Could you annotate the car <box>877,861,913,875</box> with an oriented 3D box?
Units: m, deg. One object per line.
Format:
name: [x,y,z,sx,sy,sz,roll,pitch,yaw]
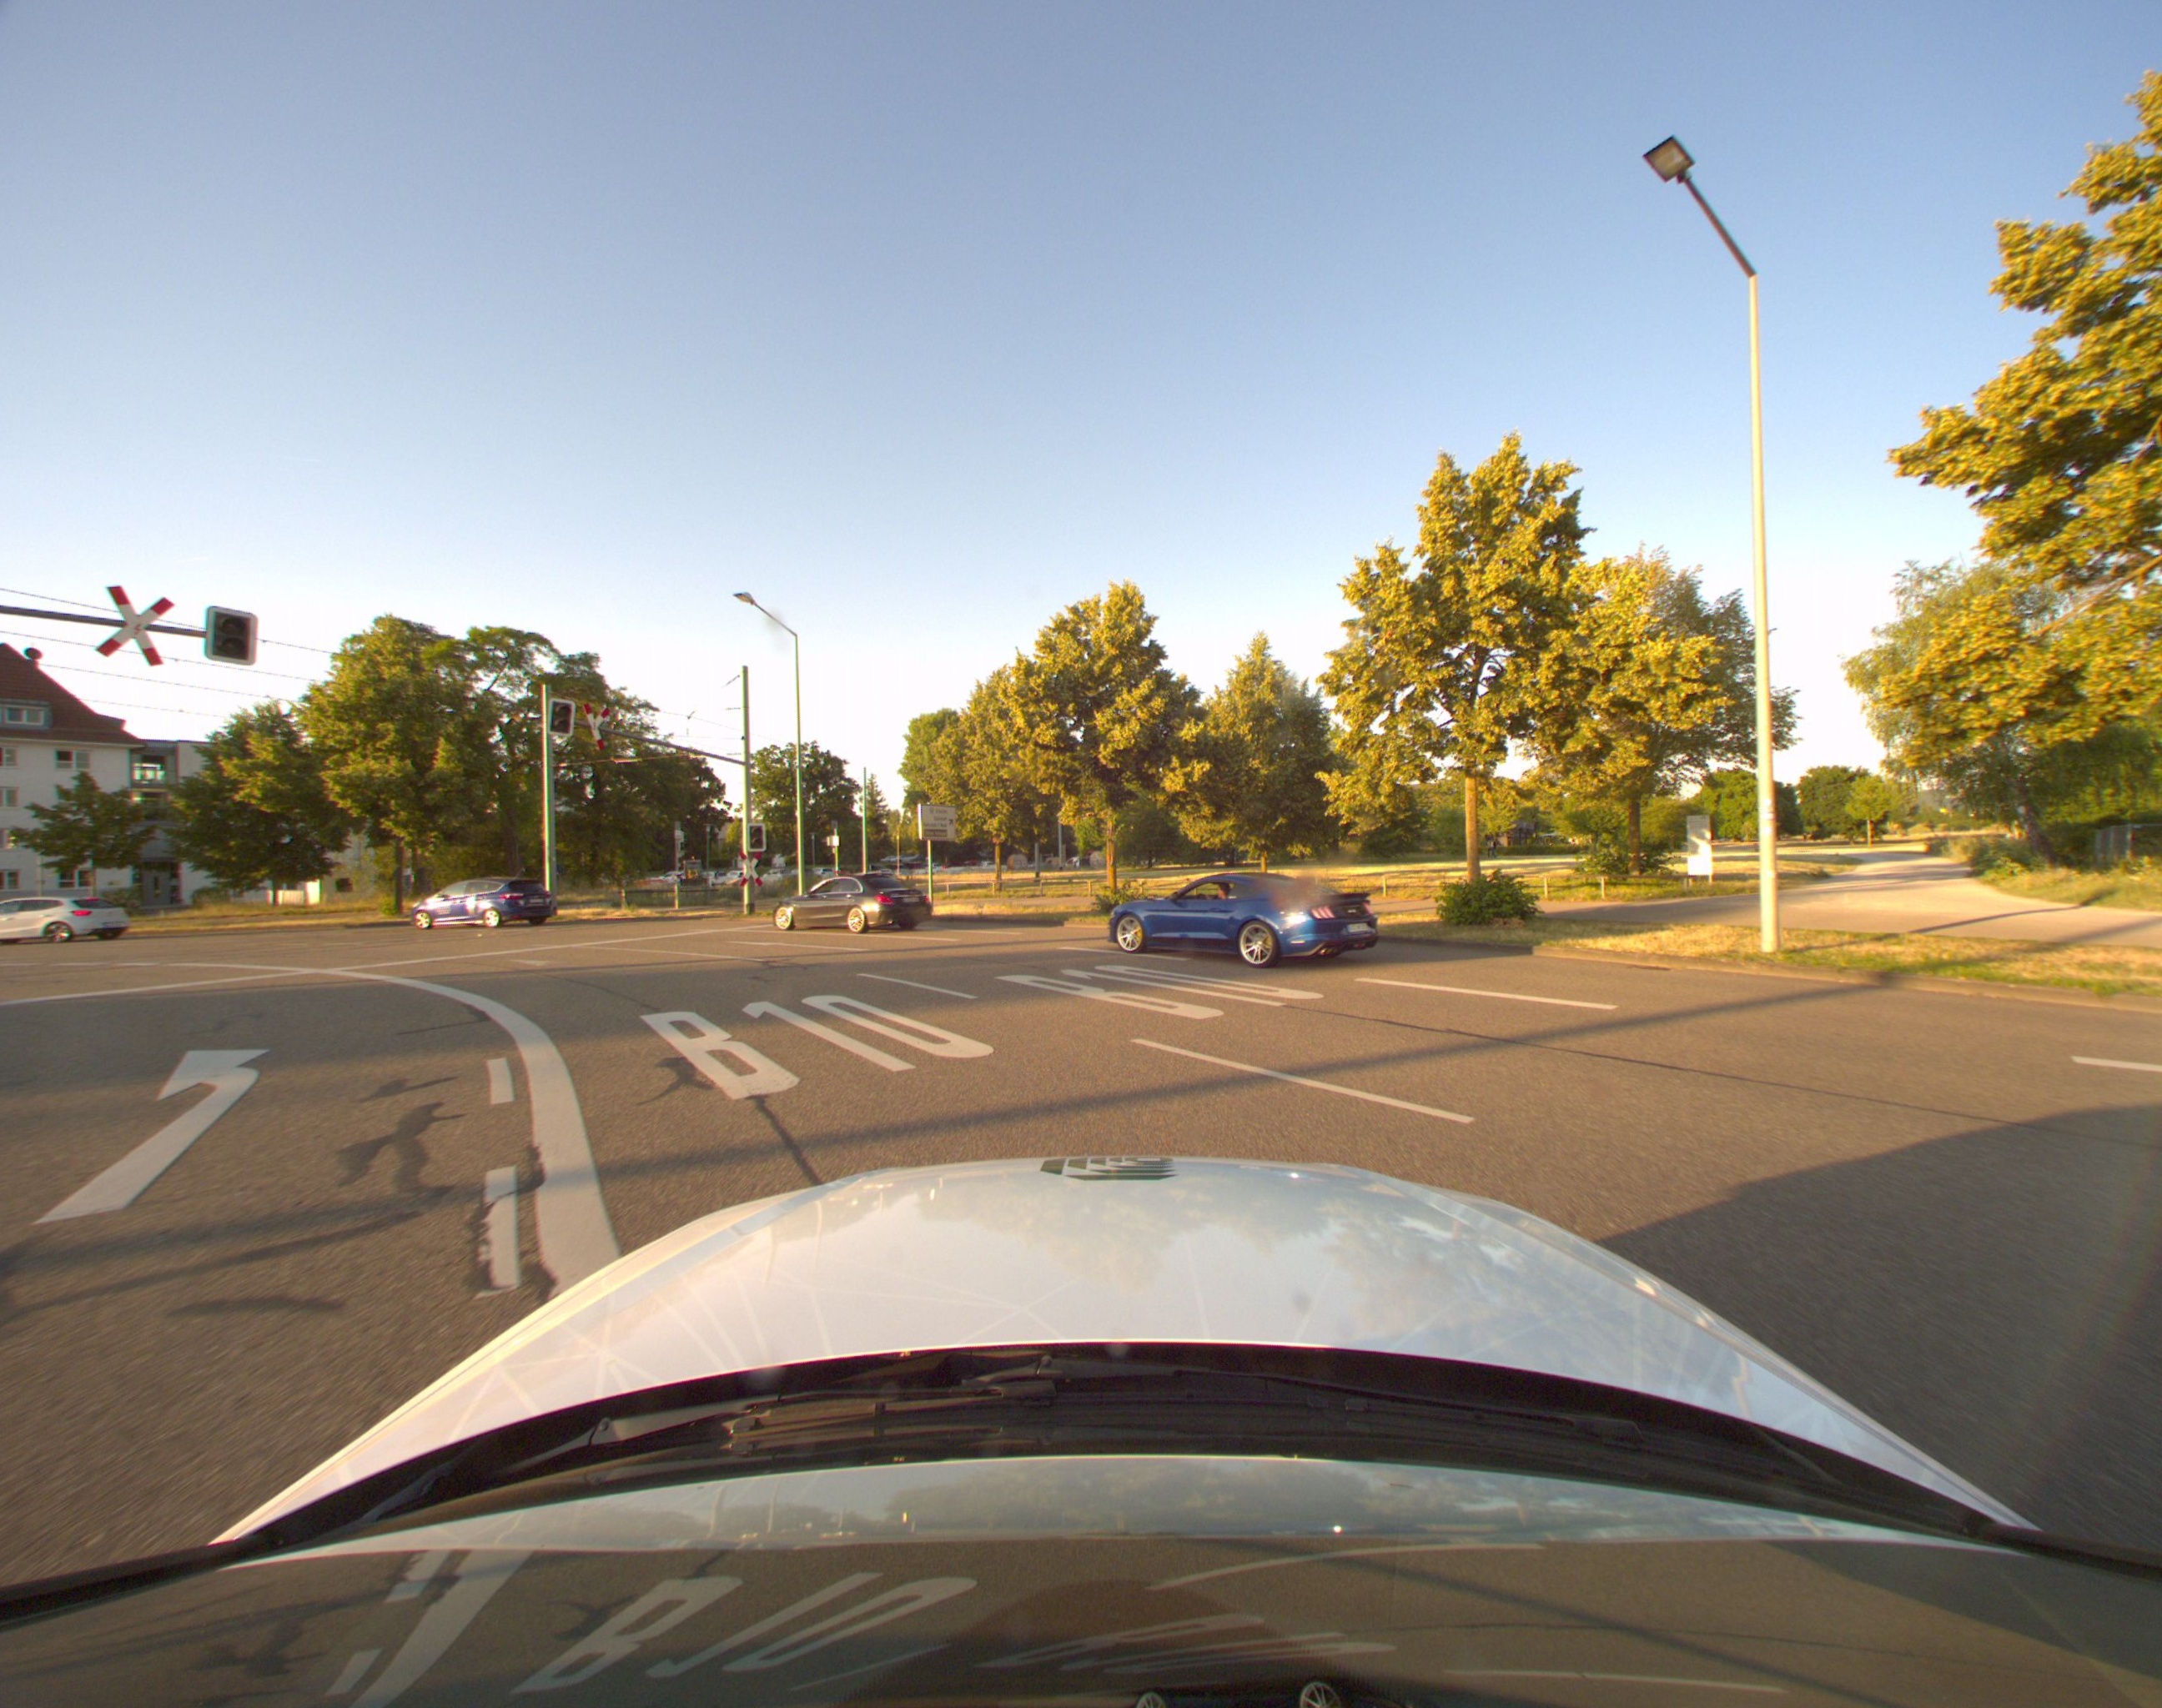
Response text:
car: [-21.752,1.665,95.284,3.948,1.554,1.916,-2,-1,34]

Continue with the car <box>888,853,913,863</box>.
car: [-32.119,0.750,145.316,1.879,1.554,4.026,-2,-1,38]

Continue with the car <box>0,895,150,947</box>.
car: [-32.510,2.116,25.564,3.908,1.401,1.873,-2,0,-14]

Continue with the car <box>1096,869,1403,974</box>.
car: [2.498,0.935,13.109,1.968,1.342,4.616,0,-1,-40]

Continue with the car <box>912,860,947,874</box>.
car: [-18.557,1.624,99.647,3.948,1.554,1.916,-2,-1,34]

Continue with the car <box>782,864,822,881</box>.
car: [-29.407,1.945,85.905,3.948,1.662,1.965,-2,-1,34]

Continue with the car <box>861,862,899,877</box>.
car: [-23.143,1.795,93.719,4.046,1.554,1.916,-2,-1,34]

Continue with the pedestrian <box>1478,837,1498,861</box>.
pedestrian: [32.772,-0.394,65.604,1.106,1.863,0.904,-1,0,-24]

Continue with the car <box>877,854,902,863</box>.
car: [-34.672,0.825,147.316,1.879,1.554,4.026,-2,-1,38]

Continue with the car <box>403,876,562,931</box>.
car: [-19.343,1.590,26.382,4.036,1.602,1.964,-2,-1,13]

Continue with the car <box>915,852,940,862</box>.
car: [-26.431,0.512,140.596,1.974,1.745,4.025,-1,-1,37]

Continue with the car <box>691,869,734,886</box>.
car: [-35.279,2.229,77.924,3.948,1.445,1.965,-2,-1,34]

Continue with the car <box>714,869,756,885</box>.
car: [-33.840,2.252,79.612,3.948,1.445,1.965,-2,-1,34]

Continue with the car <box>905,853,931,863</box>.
car: [-28.493,0.717,142.335,1.879,1.554,4.026,-2,-1,38]

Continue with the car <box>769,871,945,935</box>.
car: [-5.749,1.186,20.723,4.372,1.427,1.970,-2,-1,35]

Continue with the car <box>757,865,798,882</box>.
car: [-31.405,2.043,84.266,3.948,1.662,1.965,-2,-1,34]

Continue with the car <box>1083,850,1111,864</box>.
car: [2.485,0.500,127.249,3.948,2.095,1.916,-2,-1,34]

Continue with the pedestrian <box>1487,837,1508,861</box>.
pedestrian: [32.847,-0.413,64.218,1.106,1.863,0.904,-1,0,-24]

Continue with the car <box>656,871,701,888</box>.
car: [-37.411,2.374,75.680,3.948,1.445,1.965,-2,-1,34]

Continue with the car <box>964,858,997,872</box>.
car: [-13.182,1.445,106.731,3.948,1.554,1.916,-2,-1,34]

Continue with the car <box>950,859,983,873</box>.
car: [-14.769,1.547,104.989,3.948,1.554,1.916,-2,-1,34]

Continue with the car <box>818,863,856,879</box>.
car: [-26.935,1.882,89.952,3.948,1.554,1.916,-2,-1,34]

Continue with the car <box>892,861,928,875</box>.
car: [-20.479,1.646,97.338,3.948,1.554,1.916,-2,-1,34]

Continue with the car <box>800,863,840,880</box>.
car: [-28.105,1.915,87.731,3.948,1.662,1.965,-2,-1,34]
